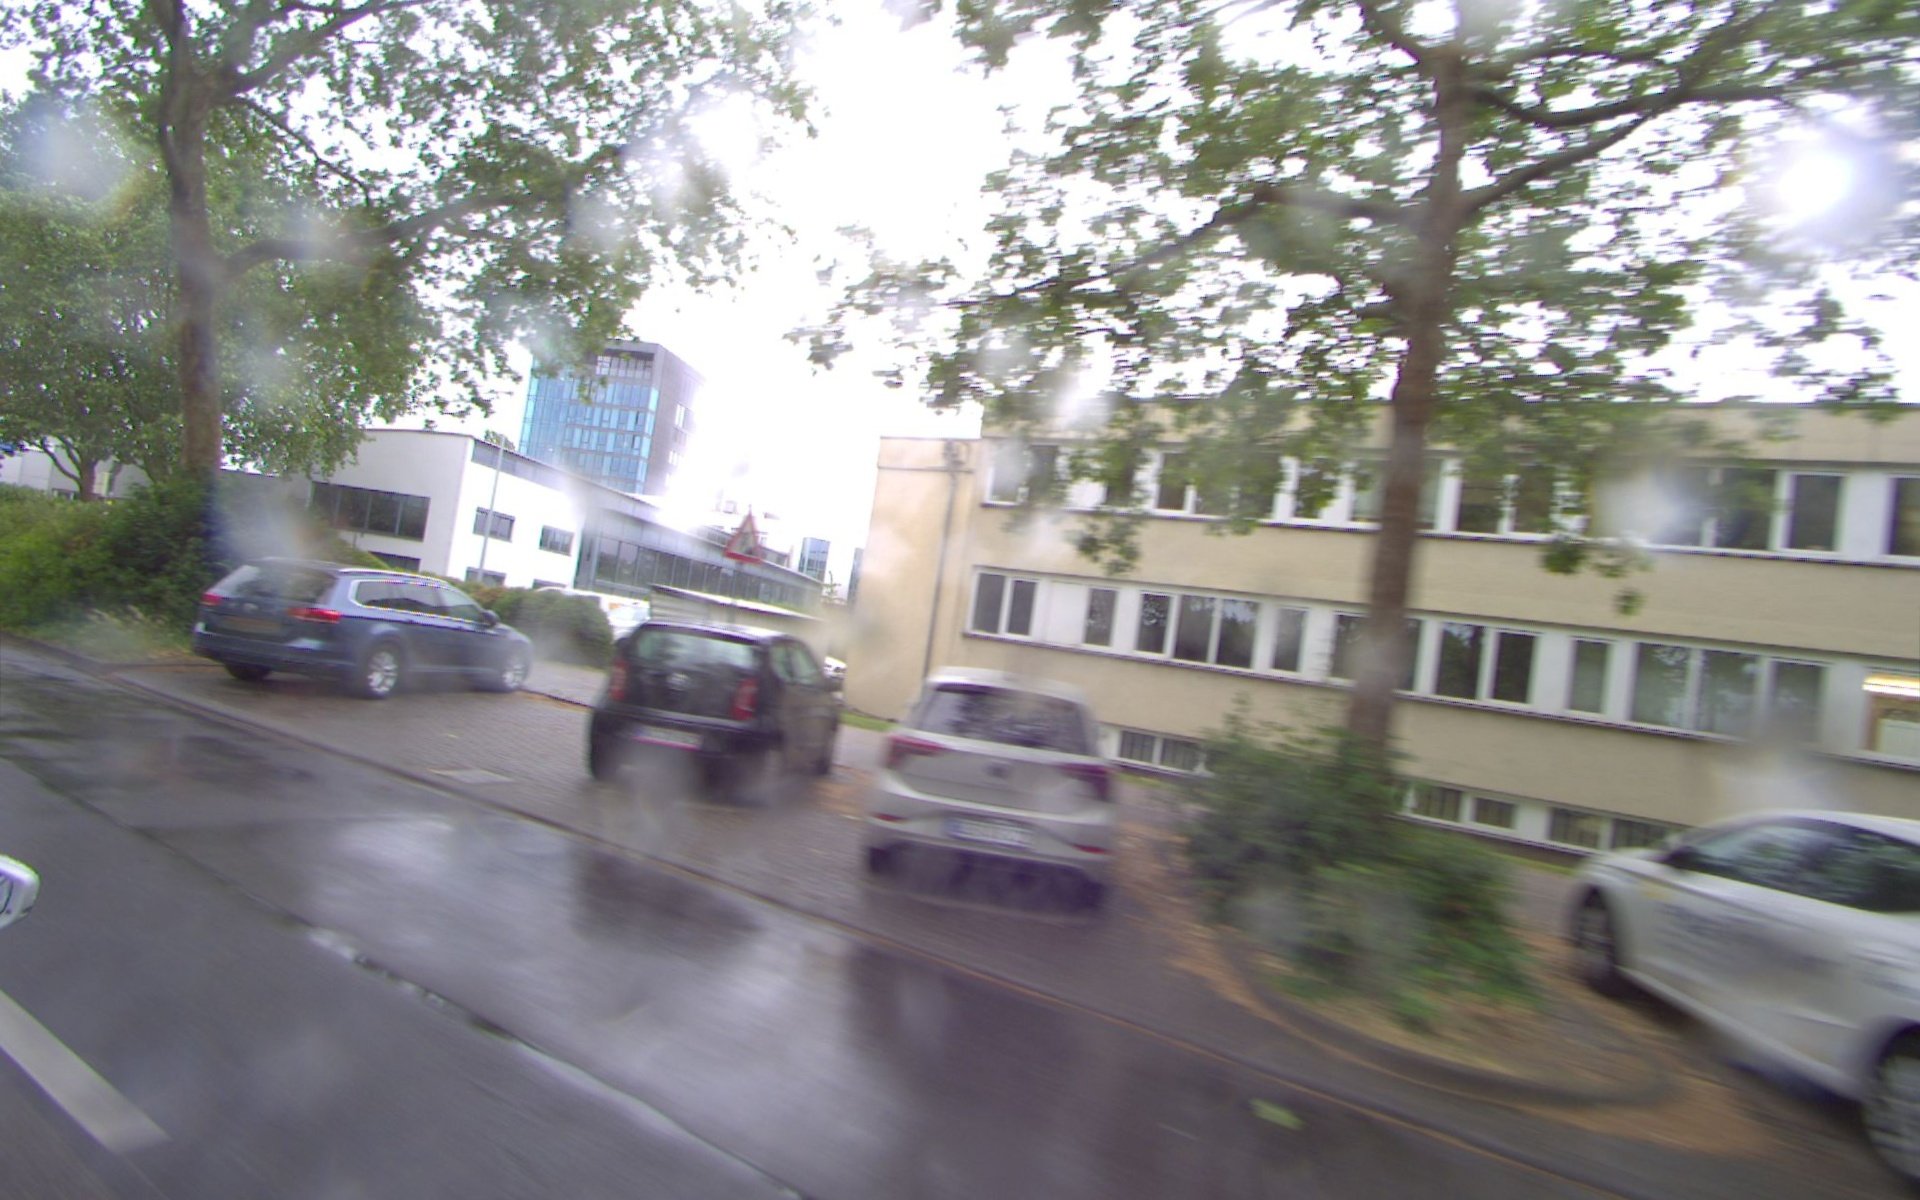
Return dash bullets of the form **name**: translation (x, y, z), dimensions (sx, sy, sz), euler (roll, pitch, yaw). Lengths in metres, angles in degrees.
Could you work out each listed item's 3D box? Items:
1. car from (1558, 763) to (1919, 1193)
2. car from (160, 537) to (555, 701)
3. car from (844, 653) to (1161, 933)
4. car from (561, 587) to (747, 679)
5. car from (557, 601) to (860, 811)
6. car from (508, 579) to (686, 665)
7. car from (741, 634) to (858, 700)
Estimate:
- **car**: translation (4.813, 1.807, 4.947), dimensions (1.716, 1.431, 3.699), euler (8, -3, 7)
- **car**: translation (-7.176, 0.356, 12.680), dimensions (1.716, 1.474, 4.504), euler (8, -3, 7)
- **car**: translation (0.339, 1.281, 7.940), dimensions (1.742, 1.431, 3.698), euler (8, -3, 3)
- **car**: translation (-7.806, 0.927, 26.132), dimensions (1.719, 1.776, 4.552), euler (7, -3, 29)
- **car**: translation (-2.202, 0.964, 9.919), dimensions (1.716, 1.431, 3.698), euler (8, -3, 3)
- **car**: translation (-9.965, 0.676, 27.991), dimensions (1.749, 1.776, 4.555), euler (7, -3, 26)
- **car**: translation (-5.809, 2.428, 36.400), dimensions (3.699, 1.776, 1.749), euler (7, -3, 29)
